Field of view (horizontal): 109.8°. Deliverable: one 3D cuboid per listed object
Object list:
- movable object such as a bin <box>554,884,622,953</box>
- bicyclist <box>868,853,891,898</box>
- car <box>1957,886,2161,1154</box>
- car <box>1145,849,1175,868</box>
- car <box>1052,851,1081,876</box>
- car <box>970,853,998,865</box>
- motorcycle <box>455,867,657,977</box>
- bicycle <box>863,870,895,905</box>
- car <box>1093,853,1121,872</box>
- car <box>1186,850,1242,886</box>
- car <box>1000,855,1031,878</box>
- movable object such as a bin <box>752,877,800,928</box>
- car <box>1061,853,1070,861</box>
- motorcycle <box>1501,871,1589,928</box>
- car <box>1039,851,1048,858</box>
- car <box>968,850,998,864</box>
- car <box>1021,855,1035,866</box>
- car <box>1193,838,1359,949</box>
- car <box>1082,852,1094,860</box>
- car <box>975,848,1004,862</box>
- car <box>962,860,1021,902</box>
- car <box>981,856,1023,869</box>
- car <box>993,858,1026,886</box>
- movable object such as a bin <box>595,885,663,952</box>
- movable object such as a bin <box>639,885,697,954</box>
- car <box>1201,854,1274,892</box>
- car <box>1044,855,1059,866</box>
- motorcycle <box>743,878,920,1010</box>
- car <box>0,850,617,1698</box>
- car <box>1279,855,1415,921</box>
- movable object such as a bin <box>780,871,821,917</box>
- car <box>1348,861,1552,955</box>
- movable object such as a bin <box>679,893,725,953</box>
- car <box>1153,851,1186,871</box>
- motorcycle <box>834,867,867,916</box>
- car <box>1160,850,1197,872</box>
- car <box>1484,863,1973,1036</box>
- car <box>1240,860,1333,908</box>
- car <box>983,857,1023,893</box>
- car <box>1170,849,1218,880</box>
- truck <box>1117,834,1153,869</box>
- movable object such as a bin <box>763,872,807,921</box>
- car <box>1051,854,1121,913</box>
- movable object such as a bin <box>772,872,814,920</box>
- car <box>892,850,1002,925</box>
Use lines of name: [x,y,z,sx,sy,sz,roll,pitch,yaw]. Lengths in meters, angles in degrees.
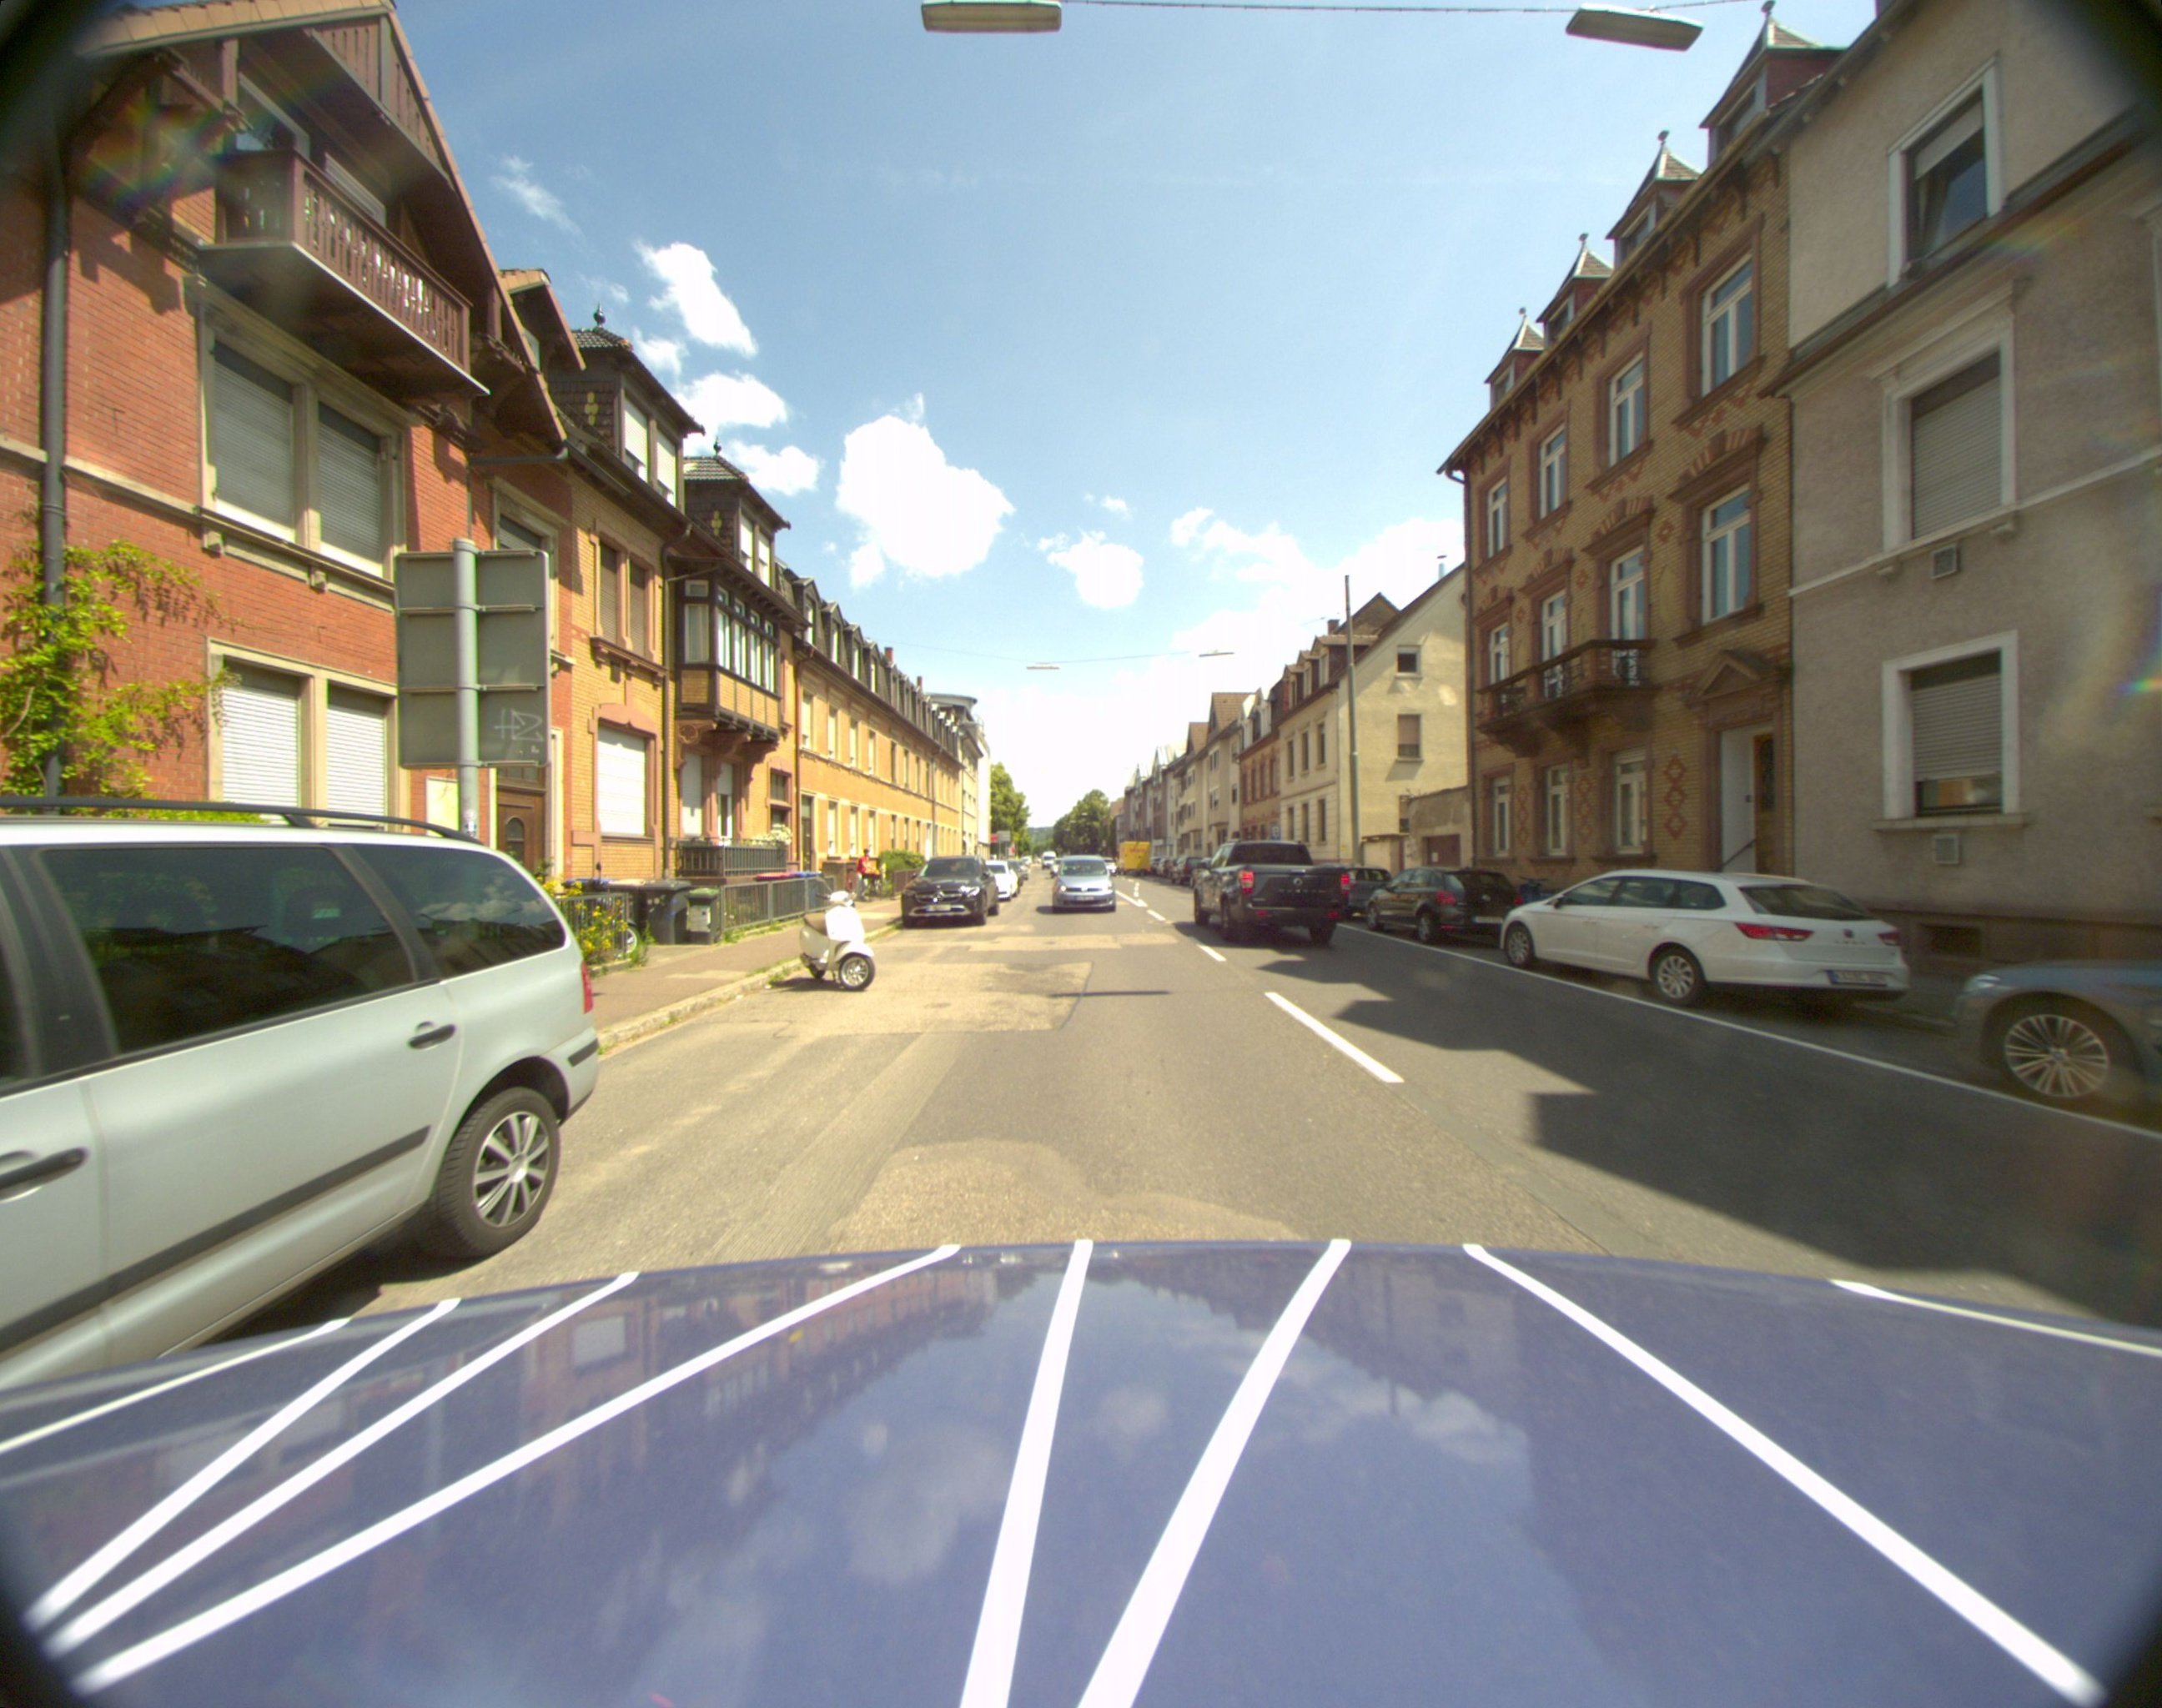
movable object such as a bin: [-8.187,1.054,12.647,0.610,1.070,0.761,0,1,0]
bicyclist: [-6.667,0.698,25.186,0.534,1.461,0.790,0,1,0]
car: [6.926,0.977,2.808,1.845,1.414,4.644,2,1,-3]
car: [6.917,0.384,67.203,1.845,1.586,4.384,-3,1,-4]
car: [-1.006,0.652,54.286,1.999,1.652,4.624,0,0,-1]
car: [-13.440,0.629,105.290,3.775,1.657,1.662,0,1,-8]
motorcycle: [-7.269,0.914,10.607,2.135,1.400,0.937,1,1,-1]
bicycle: [-6.670,1.093,25.157,0.595,1.060,1.882,0,0,0]
car: [1.983,0.620,59.438,1.795,1.412,4.313,1,0,-3]
car: [6.586,0.670,38.122,1.845,1.587,4.501,3,1,-2]
car: [-4.600,0.851,52.887,1.860,1.455,4.546,-1,1,-9]
movable object such as a bin: [-6.622,1.043,16.524,0.790,1.082,0.686,0,1,-4]
car: [-3.465,0.647,167.338,1.817,1.611,4.439,0,0,-5]
motorcycle: [9.686,0.914,15.946,0.715,1.047,1.936,-1,1,2]
car: [-7.856,0.149,159.837,1.721,1.406,4.588,0,0,-1]
car: [-13.224,0.359,102.663,3.998,1.741,2.015,-1,1,-5]
car: [-7.527,0.851,107.958,1.772,1.476,3.888,-1,1,-6]
car: [3.532,0.631,14.886,1.998,1.782,5.148,0,0,1]
car: [1.337,0.377,148.536,1.892,1.531,4.566,0,0,-6]
car: [-15.267,0.154,126.621,4.615,2.263,2.105,-2,1,-3]
car: [-3.247,0.940,28.316,1.721,1.406,4.588,0,0,-1]
car: [-8.900,0.923,85.802,4.595,1.357,1.999,-1,0,-6]
car: [-3.919,0.950,42.201,1.705,1.372,4.165,-1,1,-4]
movable object such as a bin: [-7.503,1.063,12.646,0.660,1.048,0.748,0,1,0]
movable object such as a bin: [-6.860,1.075,12.653,0.558,1.069,0.727,0,1,0]
car: [6.612,0.774,32.644,1.845,1.414,4.500,2,0,-4]
car: [-3.727,0.812,95.376,1.721,1.406,4.588,0,0,-1]
motorcycle: [-3.104,1.022,9.382,1.990,1.377,1.115,0,1,38]
car: [-3.176,0.896,1.473,1.865,1.737,4.616,-2,0,-3]
car: [7.014,0.830,20.615,1.845,1.414,4.500,4,1,-3]
movable object such as a bin: [-6.736,0.950,18.253,0.790,1.082,0.539,0,1,-4]
car: [7.085,0.944,15.226,1.844,1.414,4.502,3,1,0]
movable object such as a bin: [-6.310,1.140,12.669,0.482,0.935,0.526,0,1,0]
car: [7.066,0.526,61.107,1.845,1.479,4.385,-3,1,-3]
motorcycle: [-6.024,0.961,19.905,0.441,1.230,1.357,1,0,-1]
car: [7.125,0.474,55.913,1.845,1.479,4.500,-3,1,-4]
car: [7.052,0.896,9.111,1.845,1.414,4.500,2,1,-3]
car: [6.991,0.968,26.361,1.845,1.414,4.501,2,1,-2]
car: [-3.545,0.900,34.260,1.653,1.406,4.498,-1,1,-7]
car: [6.340,0.558,43.049,1.845,1.587,4.501,2,1,-2]
truck: [4.482,-0.185,64.354,2.231,2.755,7.561,1,0,-2]
movable object such as a bin: [-6.655,0.949,17.096,0.790,1.082,0.553,0,1,-4]
car: [0.059,0.771,22.172,1.747,1.513,4.221,0,0,-4]
movable object such as a bin: [-6.689,0.960,17.680,0.790,1.082,0.543,0,1,-4]
car: [-3.188,0.722,19.098,1.999,1.652,4.624,0,0,-1]
